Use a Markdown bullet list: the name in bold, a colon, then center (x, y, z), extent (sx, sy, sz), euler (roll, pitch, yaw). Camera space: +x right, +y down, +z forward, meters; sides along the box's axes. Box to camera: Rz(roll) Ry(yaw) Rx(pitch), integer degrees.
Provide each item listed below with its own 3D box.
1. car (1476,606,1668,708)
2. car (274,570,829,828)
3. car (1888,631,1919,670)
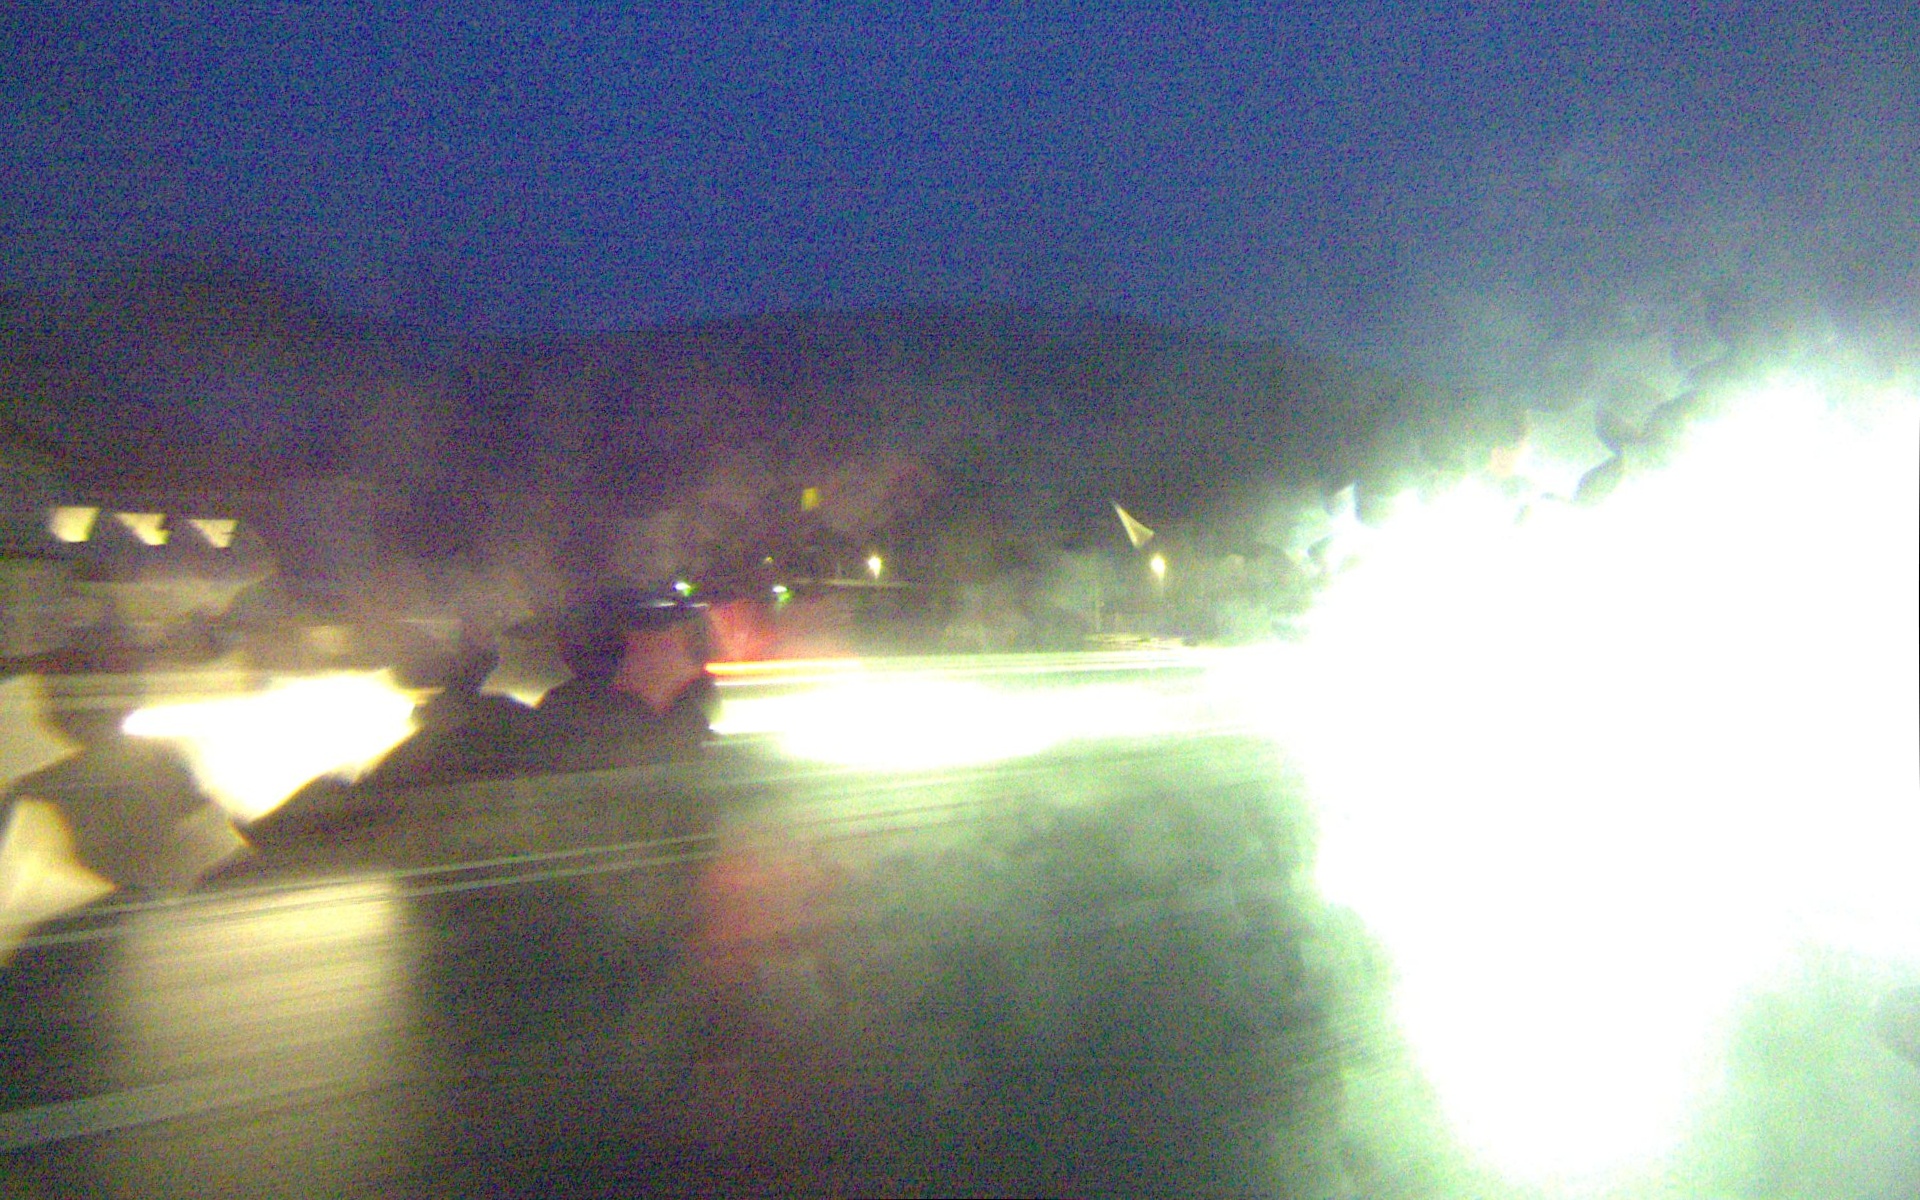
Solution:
- **car**: center (12.427, 1.061, 20.268), extent (4.493, 1.768, 2.177), euler (1, 0, -43)
- **car**: center (-3.231, 0.645, 8.202), extent (3.862, 1.621, 1.868), euler (1, 0, -36)
- **car**: center (38.321, 1.995, 39.631), extent (4.451, 1.461, 1.818), euler (1, 0, -38)
